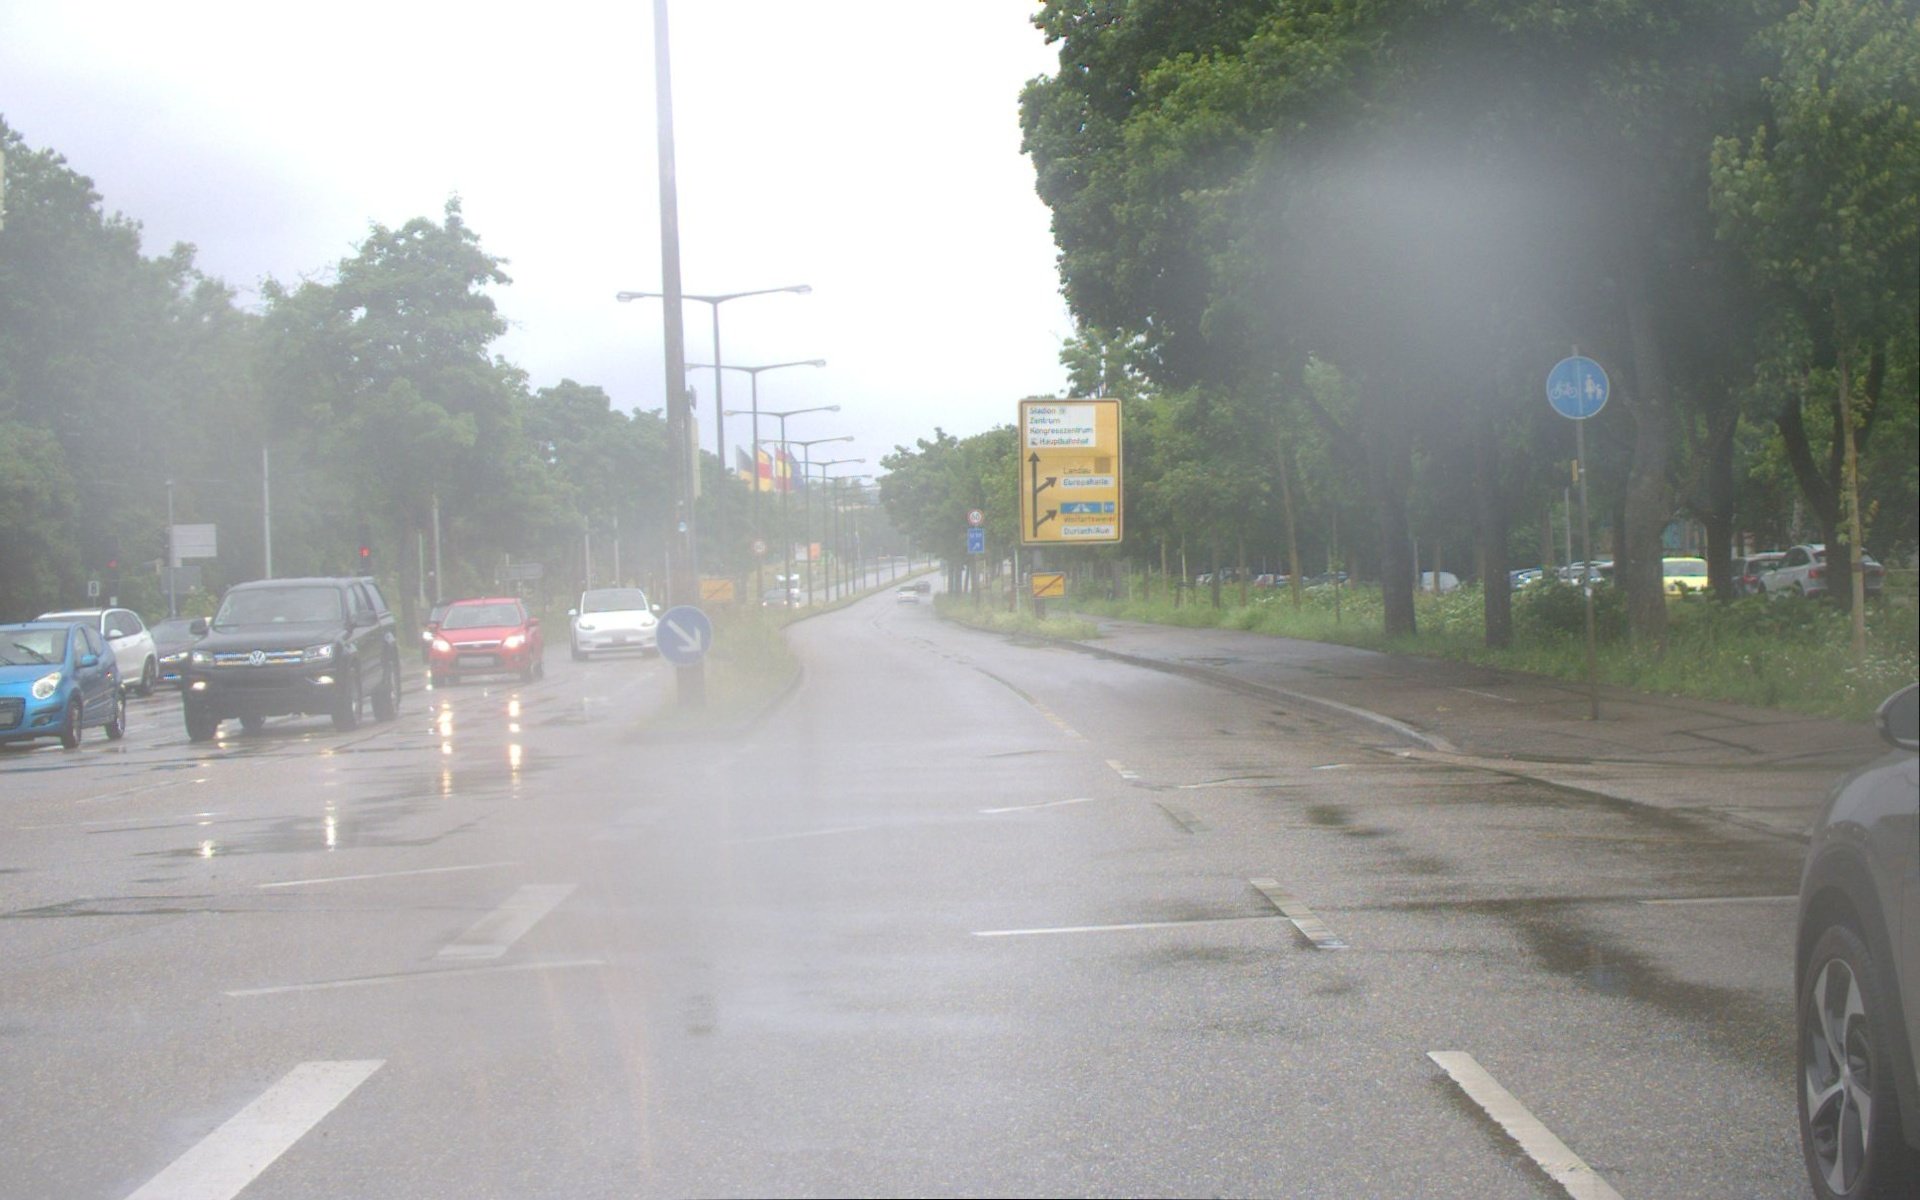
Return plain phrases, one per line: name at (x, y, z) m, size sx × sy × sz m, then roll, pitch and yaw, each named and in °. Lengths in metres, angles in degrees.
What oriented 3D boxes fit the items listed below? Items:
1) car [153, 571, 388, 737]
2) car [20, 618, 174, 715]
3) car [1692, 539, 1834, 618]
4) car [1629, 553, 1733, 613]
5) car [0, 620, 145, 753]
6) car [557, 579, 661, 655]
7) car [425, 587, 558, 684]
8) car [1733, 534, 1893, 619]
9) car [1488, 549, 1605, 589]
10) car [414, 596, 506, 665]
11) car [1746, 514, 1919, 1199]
car at (-8.175, 0.591, 41.212) m, size 1.805 × 1.767 × 5.089 m, roll -3°, pitch 0°, yaw -1°
car at (-16.824, 1.263, 67.205) m, size 1.993 × 1.821 × 4.772 m, roll 0°, pitch 0°, yaw -3°
car at (18.823, -0.481, 80.797) m, size 1.993 × 1.711 × 4.642 m, roll -2°, pitch 0°, yaw -3°
car at (18.547, -0.421, 88.573) m, size 1.637 × 1.481 × 4.073 m, roll 0°, pitch 0°, yaw -3°
car at (-10.803, 1.006, 40.333) m, size 1.641 × 1.422 × 4.000 m, roll -4°, pitch 0°, yaw -3°
car at (-8.088, 0.369, 79.552) m, size 1.961 × 1.611 × 4.697 m, roll -2°, pitch 0°, yaw -1°
car at (-8.299, 0.633, 61.252) m, size 1.801 × 1.564 × 4.429 m, roll -3°, pitch 0°, yaw -2°
car at (18.610, -0.485, 75.202) m, size 1.993 × 1.711 × 4.879 m, roll -2°, pitch 0°, yaw -3°
car at (24.949, -1.306, 146.296) m, size 4.569 × 1.639 × 2.000 m, roll 0°, pitch 0°, yaw -6°
car at (-13.040, 0.770, 89.849) m, size 1.707 × 1.636 × 4.331 m, roll -3°, pitch 0°, yaw 0°
car at (2.844, 0.654, 6.122) m, size 1.884 × 1.605 × 4.196 m, roll 1°, pitch 1°, yaw 0°
